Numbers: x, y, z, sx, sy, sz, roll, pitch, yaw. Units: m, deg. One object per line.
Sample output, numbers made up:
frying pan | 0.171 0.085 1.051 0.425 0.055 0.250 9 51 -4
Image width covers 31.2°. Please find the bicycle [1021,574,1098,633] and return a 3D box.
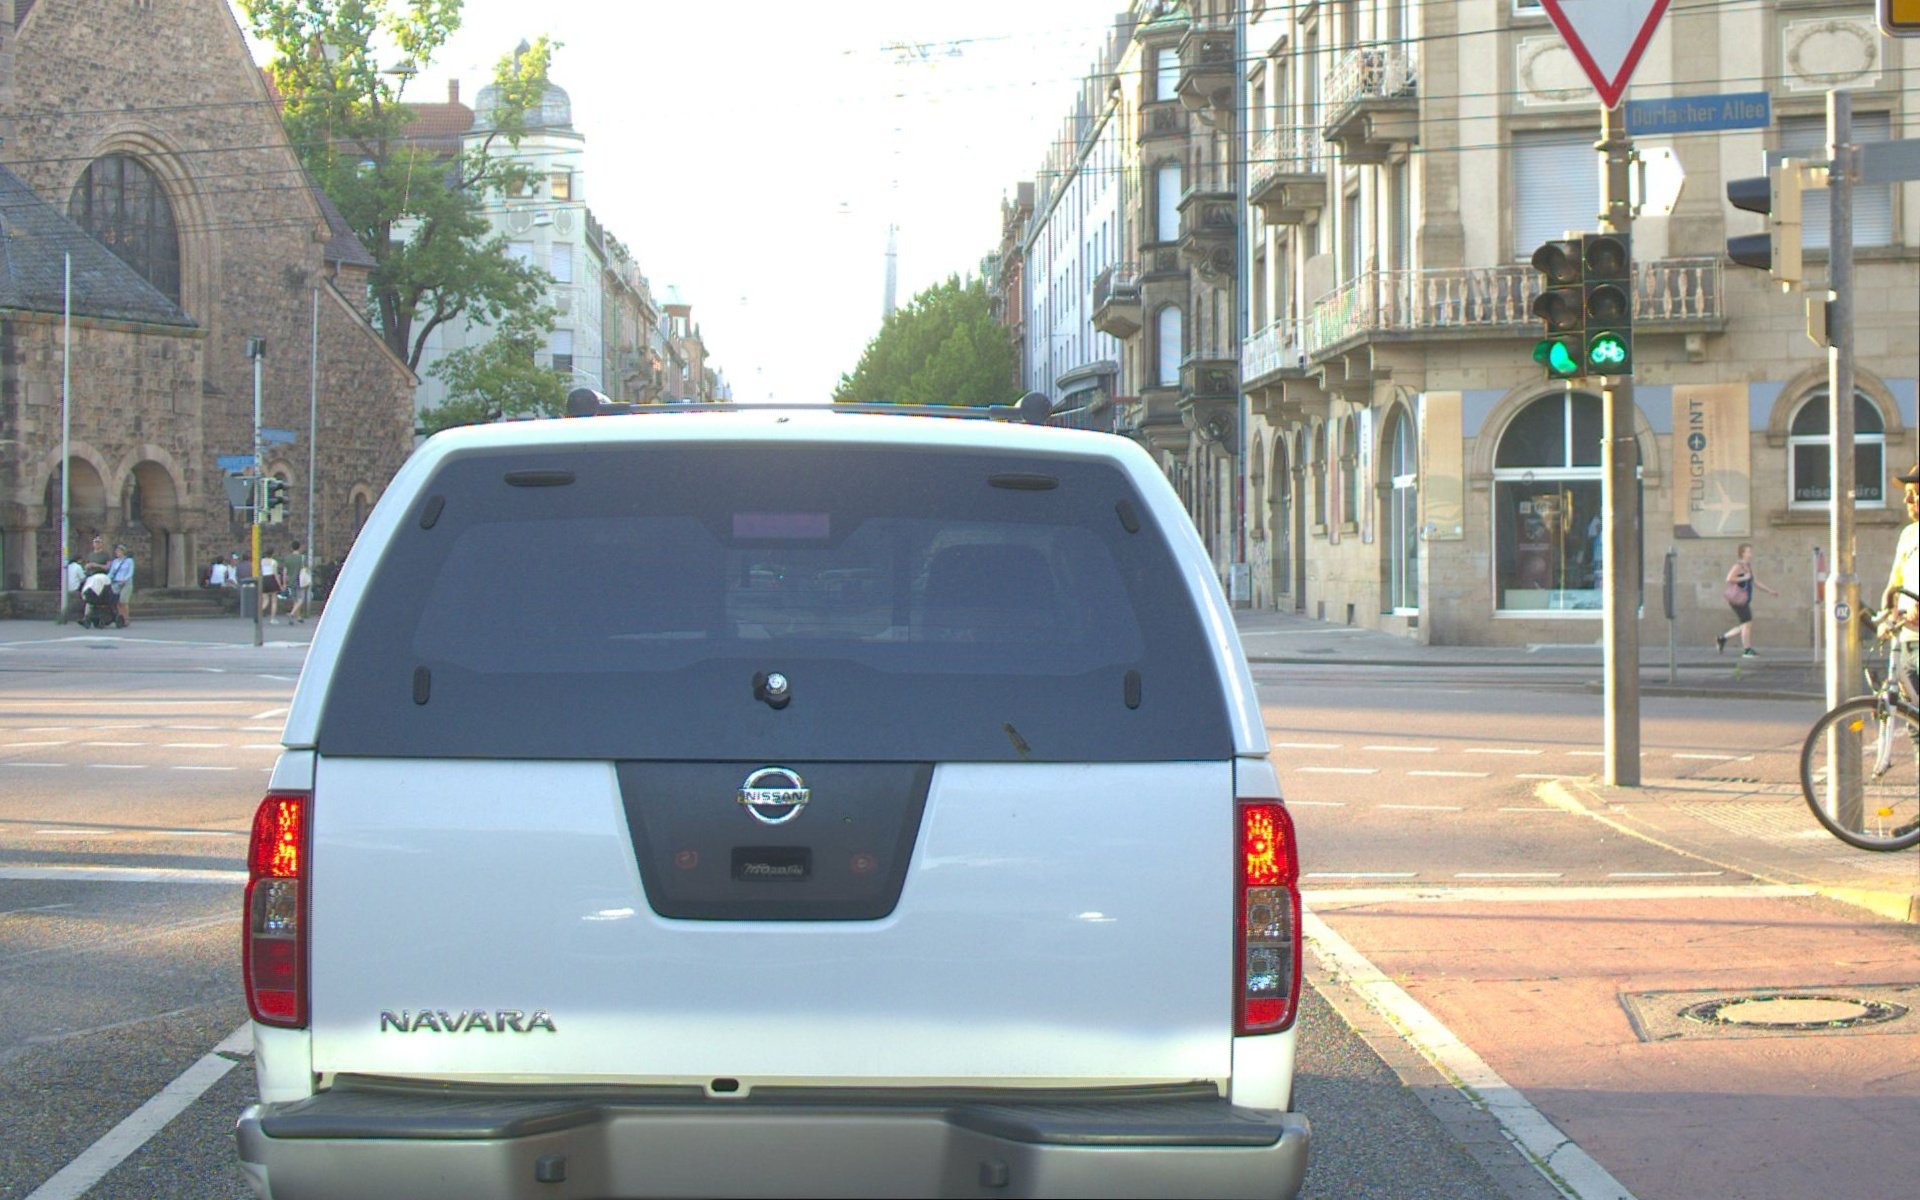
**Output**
bicycle | 1.861 0.070 64.300 1.371 1.021 0.317 -3 0 -2

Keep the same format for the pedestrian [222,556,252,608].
pedestrian | -17.199 -0.426 81.774 0.478 1.241 0.523 1 0 17

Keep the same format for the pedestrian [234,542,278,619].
pedestrian | -15.396 -0.417 75.206 0.812 1.664 0.860 1 0 -3

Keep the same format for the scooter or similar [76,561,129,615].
scooter or similar | -17.662 -0.244 70.836 0.634 1.099 1.078 1 0 11

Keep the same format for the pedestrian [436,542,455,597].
pedestrian | -15.973 -0.942 106.670 0.560 1.690 0.645 1 0 -8

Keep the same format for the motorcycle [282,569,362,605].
motorcycle | -17.823 -0.374 96.016 2.167 0.984 0.593 1 0 19

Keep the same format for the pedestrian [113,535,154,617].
pedestrian | -17.265 -0.499 71.814 0.634 1.693 0.602 1 0 10

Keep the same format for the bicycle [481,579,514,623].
bicycle | -11.160 0.019 83.012 0.599 1.040 1.946 1 0 -2

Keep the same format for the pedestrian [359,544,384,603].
pedestrian | -17.090 -0.764 99.827 0.642 1.690 0.562 1 0 -1

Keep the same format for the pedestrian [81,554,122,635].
pedestrian | -17.942 -0.116 71.829 0.634 1.693 0.602 1 0 8

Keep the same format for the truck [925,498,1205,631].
truck | 2.145 -0.699 68.795 5.658 2.556 2.286 0 1 -44

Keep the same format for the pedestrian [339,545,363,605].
pedestrian | -17.295 -0.717 97.612 0.642 1.690 0.562 1 0 -9

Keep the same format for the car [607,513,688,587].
car | -8.776 -1.380 96.892 1.993 2.007 4.951 -1 0 -2

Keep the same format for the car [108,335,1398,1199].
car | -0.349 0.496 7.374 1.993 1.803 4.000 1 0 -1

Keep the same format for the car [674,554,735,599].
car | -8.886 -0.814 119.716 1.858 1.524 4.000 1 0 -1

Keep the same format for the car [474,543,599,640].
car | -8.196 -0.190 66.891 1.993 1.778 4.798 0 1 -2

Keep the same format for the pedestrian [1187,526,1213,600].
pedestrian | 5.388 -0.828 77.163 0.527 1.648 0.547 1 0 -1

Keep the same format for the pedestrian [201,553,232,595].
pedestrian | -17.388 -0.605 80.407 0.522 0.957 0.479 1 0 17

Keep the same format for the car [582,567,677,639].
car | -7.855 0.053 82.097 1.993 1.552 4.769 0 2 -2

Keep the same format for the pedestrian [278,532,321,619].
pedestrian | -14.479 -0.543 75.371 0.812 1.894 0.666 1 0 -3

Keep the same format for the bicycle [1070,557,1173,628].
bicycle | 3.090 -0.147 65.754 1.855 1.233 0.531 -3 0 -2

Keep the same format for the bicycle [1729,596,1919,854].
bicycle | 4.476 0.548 15.634 2.065 1.106 0.628 1 0 -33

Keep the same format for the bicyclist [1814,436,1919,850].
bicyclist | 4.355 0.187 15.549 0.696 1.818 0.628 1 0 -33

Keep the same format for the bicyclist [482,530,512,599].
bicyclist | -11.172 -0.848 83.053 0.599 1.639 0.963 1 0 -2

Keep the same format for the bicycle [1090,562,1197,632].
bicycle | 3.311 -0.058 62.240 1.817 1.146 0.636 -3 0 -2

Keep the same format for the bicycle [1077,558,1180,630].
bicycle | 3.128 -0.107 63.892 1.817 1.233 0.478 -3 0 -2

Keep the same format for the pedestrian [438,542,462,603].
pedestrian | -15.712 -0.851 105.832 0.642 1.849 0.562 1 0 -15

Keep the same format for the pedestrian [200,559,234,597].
pedestrian | -19.134 -0.562 88.524 0.552 0.957 0.709 1 0 20

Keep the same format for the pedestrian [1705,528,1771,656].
pedestrian | 10.928 -0.113 48.296 0.788 1.773 0.543 1 0 25

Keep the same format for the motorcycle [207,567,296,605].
motorcycle | -18.890 -0.369 91.698 2.243 0.984 0.708 1 0 -6

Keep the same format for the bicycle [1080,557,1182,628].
bicycle | 3.219 -0.142 64.617 1.817 1.233 0.412 -3 0 -2

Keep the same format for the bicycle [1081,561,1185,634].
bicycle | 3.178 -0.051 63.181 1.817 1.233 0.488 -3 0 -2

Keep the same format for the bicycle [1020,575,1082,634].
bicycle | 1.676 0.086 63.588 1.076 1.021 0.317 -3 0 -2

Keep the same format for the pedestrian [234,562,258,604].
pedestrian | -16.677 -0.396 80.290 0.521 0.957 0.479 1 0 -16

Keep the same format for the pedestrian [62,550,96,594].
pedestrian | -19.213 -0.606 74.971 0.522 0.957 0.479 1 0 19
